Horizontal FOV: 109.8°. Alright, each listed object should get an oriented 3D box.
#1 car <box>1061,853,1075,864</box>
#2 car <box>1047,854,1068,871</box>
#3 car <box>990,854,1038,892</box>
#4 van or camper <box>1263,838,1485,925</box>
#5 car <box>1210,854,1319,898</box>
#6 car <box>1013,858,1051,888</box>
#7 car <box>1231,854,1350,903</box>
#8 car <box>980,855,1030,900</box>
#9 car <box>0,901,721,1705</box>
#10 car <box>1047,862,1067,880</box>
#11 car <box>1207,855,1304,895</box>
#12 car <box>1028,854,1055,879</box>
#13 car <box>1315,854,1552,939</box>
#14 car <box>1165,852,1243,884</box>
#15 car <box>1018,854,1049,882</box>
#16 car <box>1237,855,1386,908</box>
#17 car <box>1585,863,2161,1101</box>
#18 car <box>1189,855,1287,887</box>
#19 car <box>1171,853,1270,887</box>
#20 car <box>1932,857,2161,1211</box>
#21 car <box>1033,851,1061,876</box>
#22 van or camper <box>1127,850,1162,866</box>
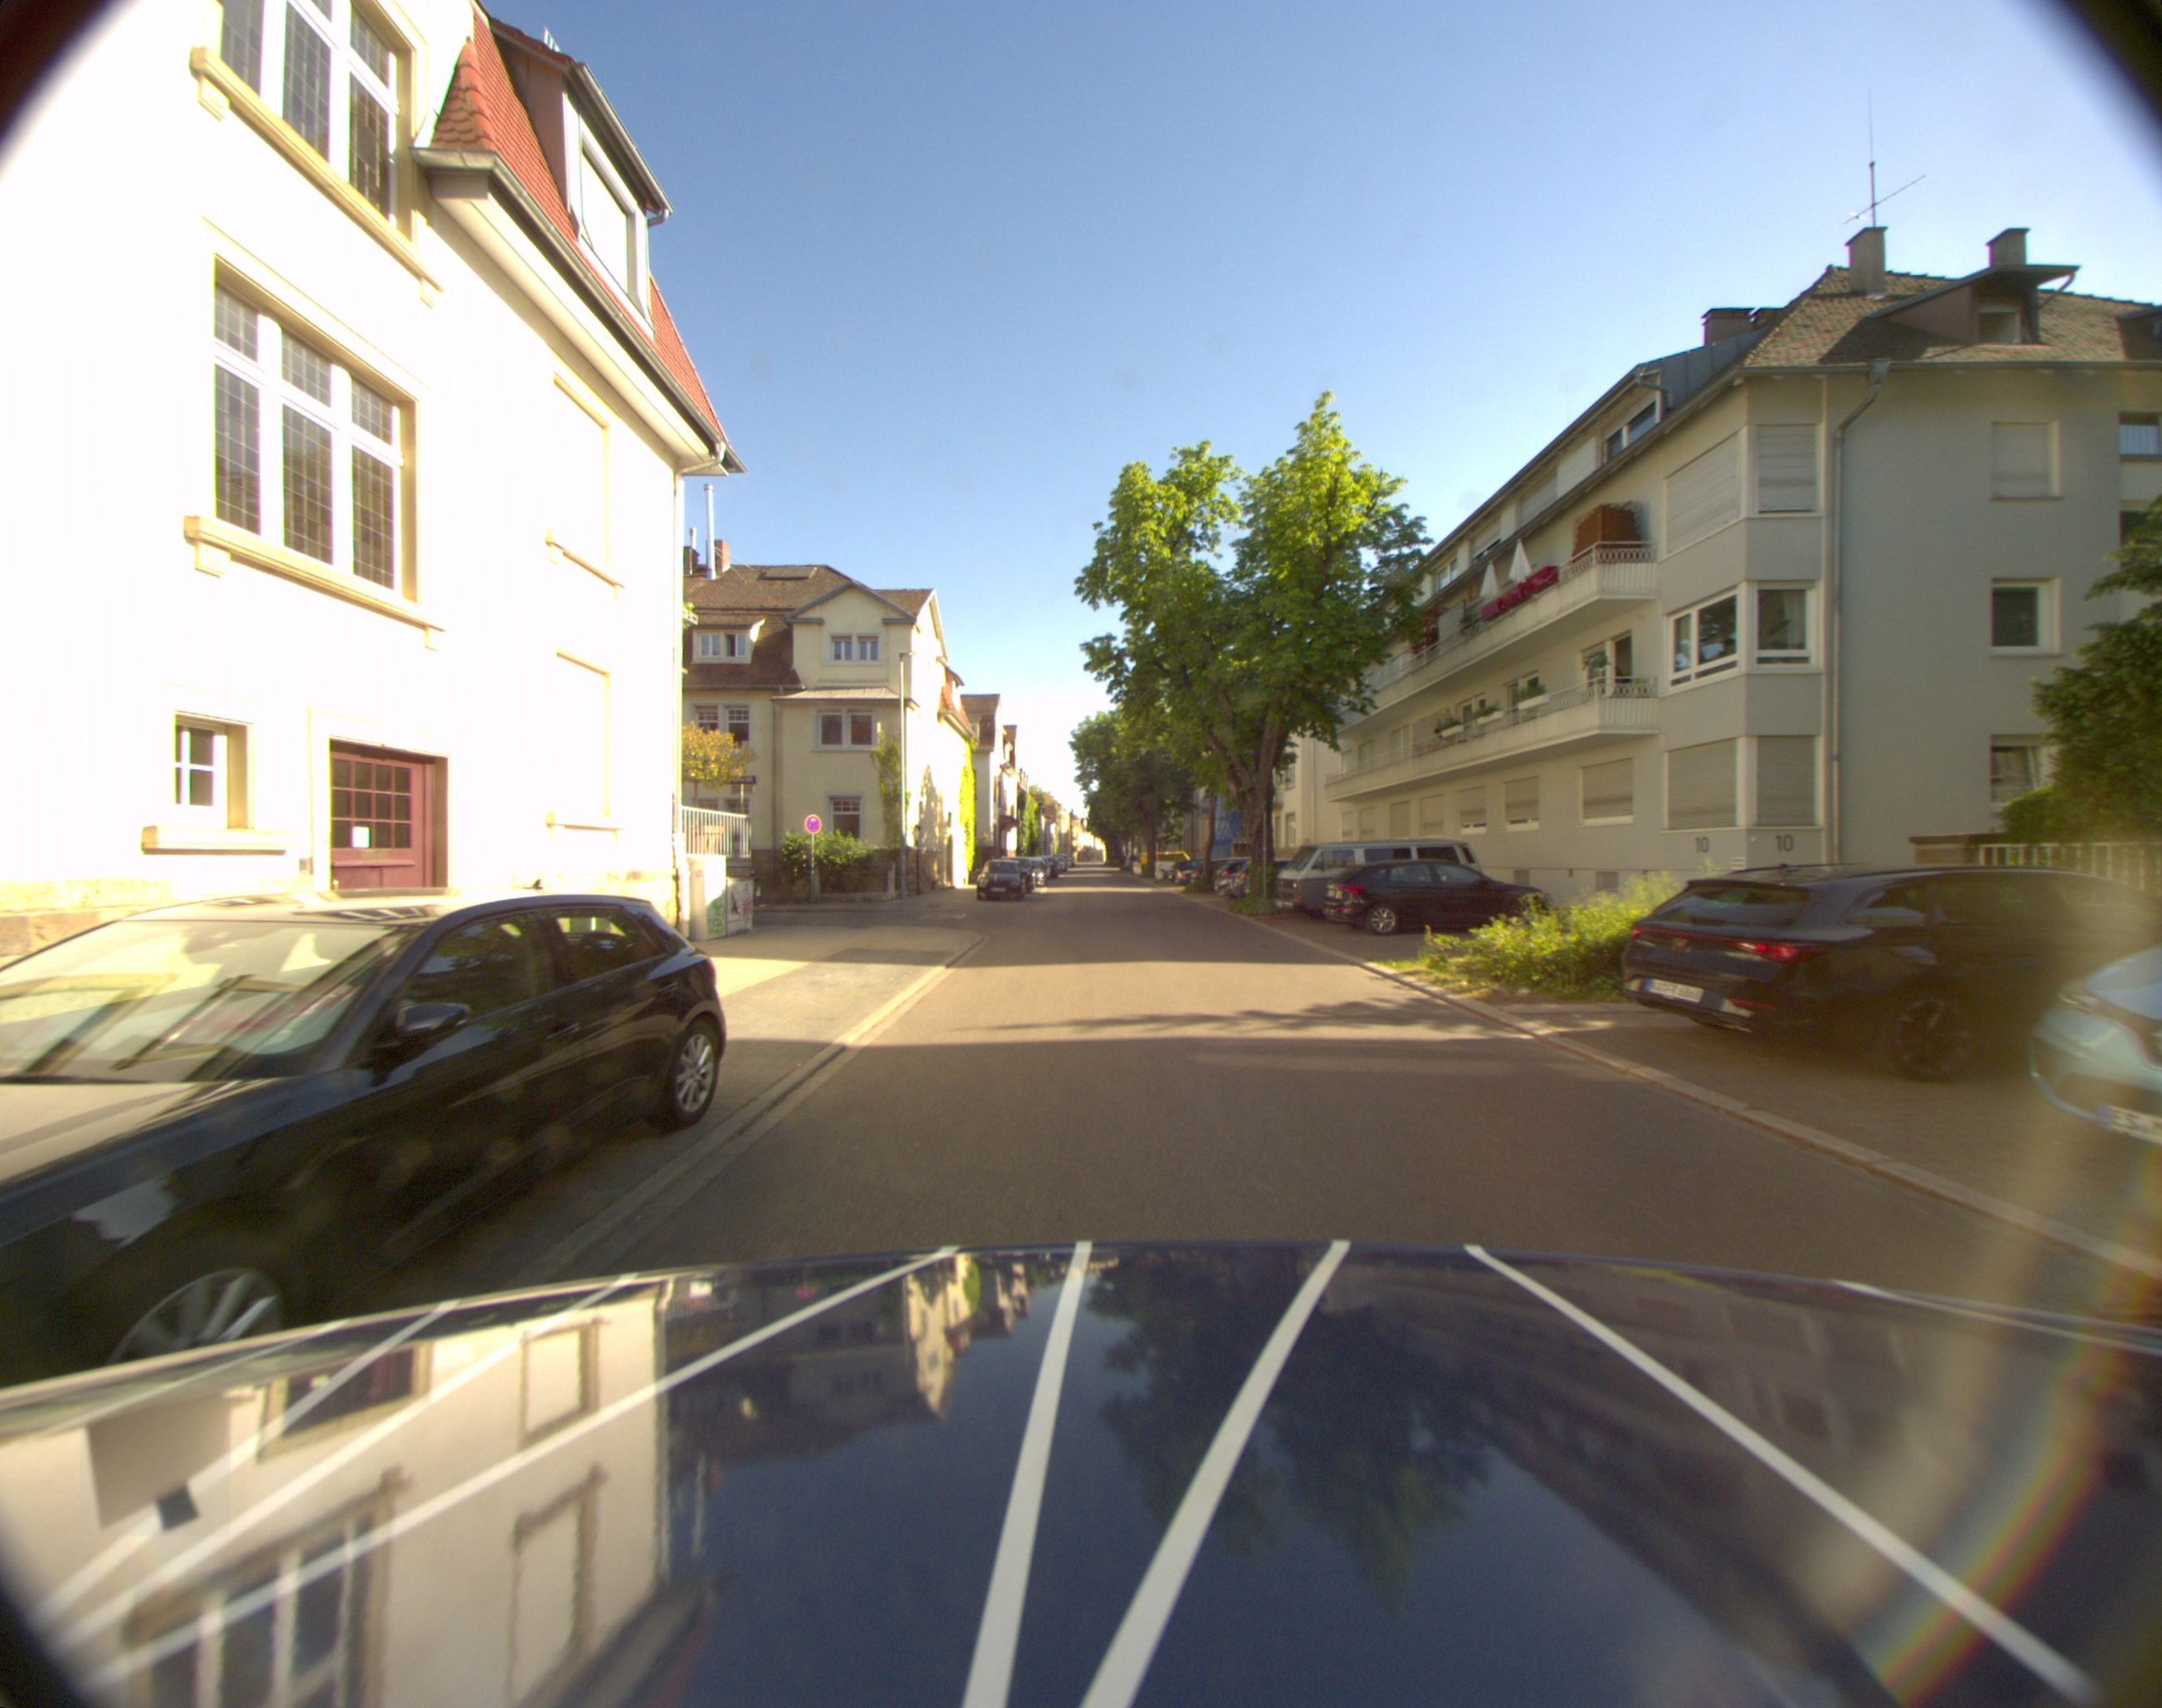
[{"bbox_3d":[-1.891,0.684,111.782,1.813,1.546,4.106,0,0,2],"label":"car"},{"bbox_3d":[-2.364,0.861,77.404,1.872,1.635,4.199,0,0,1],"label":"car"},{"bbox_3d":[-3.010,0.823,34.755,1.796,1.511,4.366,1,1,0],"label":"car"},{"bbox_3d":[6.795,0.612,17.984,4.508,1.903,1.964,-1,1,0],"label":"van or camper"},{"bbox_3d":[6.764,0.797,28.304,3.652,1.454,1.710,-2,1,2],"label":"car"},{"bbox_3d":[-2.583,0.991,41.000,1.713,1.428,4.192,1,1,0],"label":"car"},{"bbox_3d":[6.960,0.806,25.509,3.487,1.449,1.797,-2,1,2],"label":"car"},{"bbox_3d":[-2.863,0.850,29.111,1.667,1.511,4.000,1,1,-3],"label":"car"},{"bbox_3d":[-3.052,1.026,2.778,1.624,1.431,3.934,2,0,-1],"label":"car"},{"bbox_3d":[-2.112,1.517,68.391,1.648,1.445,4.502,-1,0,0],"label":"car"},{"bbox_3d":[7.075,0.819,31.021,3.488,1.412,1.709,-2,1,-5],"label":"car"},{"bbox_3d":[-2.706,0.850,52.281,1.629,1.540,2.869,-2,1,0],"label":"car"},{"bbox_3d":[6.930,0.812,15.251,3.954,1.490,1.662,-2,0,3],"label":"car"},{"bbox_3d":[6.861,0.765,42.700,3.883,1.505,1.831,-3,1,-8],"label":"car"},{"bbox_3d":[-2.817,0.802,45.519,1.579,1.540,3.468,1,1,0],"label":"car"},{"bbox_3d":[6.920,0.816,23.059,3.932,1.406,1.715,-2,0,-2],"label":"car"},{"bbox_3d":[6.598,0.841,5.866,4.197,1.490,1.861,0,0,-1],"label":"car"},{"bbox_3d":[7.294,0.773,35.548,4.198,1.433,1.713,-1,1,-1],"label":"car"},{"bbox_3d":[6.971,0.783,38.187,4.601,1.598,1.832,-1,1,-2],"label":"car"},{"bbox_3d":[6.861,0.806,3.428,3.997,1.583,1.878,0,0,-1],"label":"car"},{"bbox_3d":[-2.531,0.677,57.366,1.782,1.686,4.319,-2,1,1],"label":"car"},{"bbox_3d":[7.406,0.447,88.943,3.954,1.763,1.809,-1,-1,0],"label":"van or camper"}]
